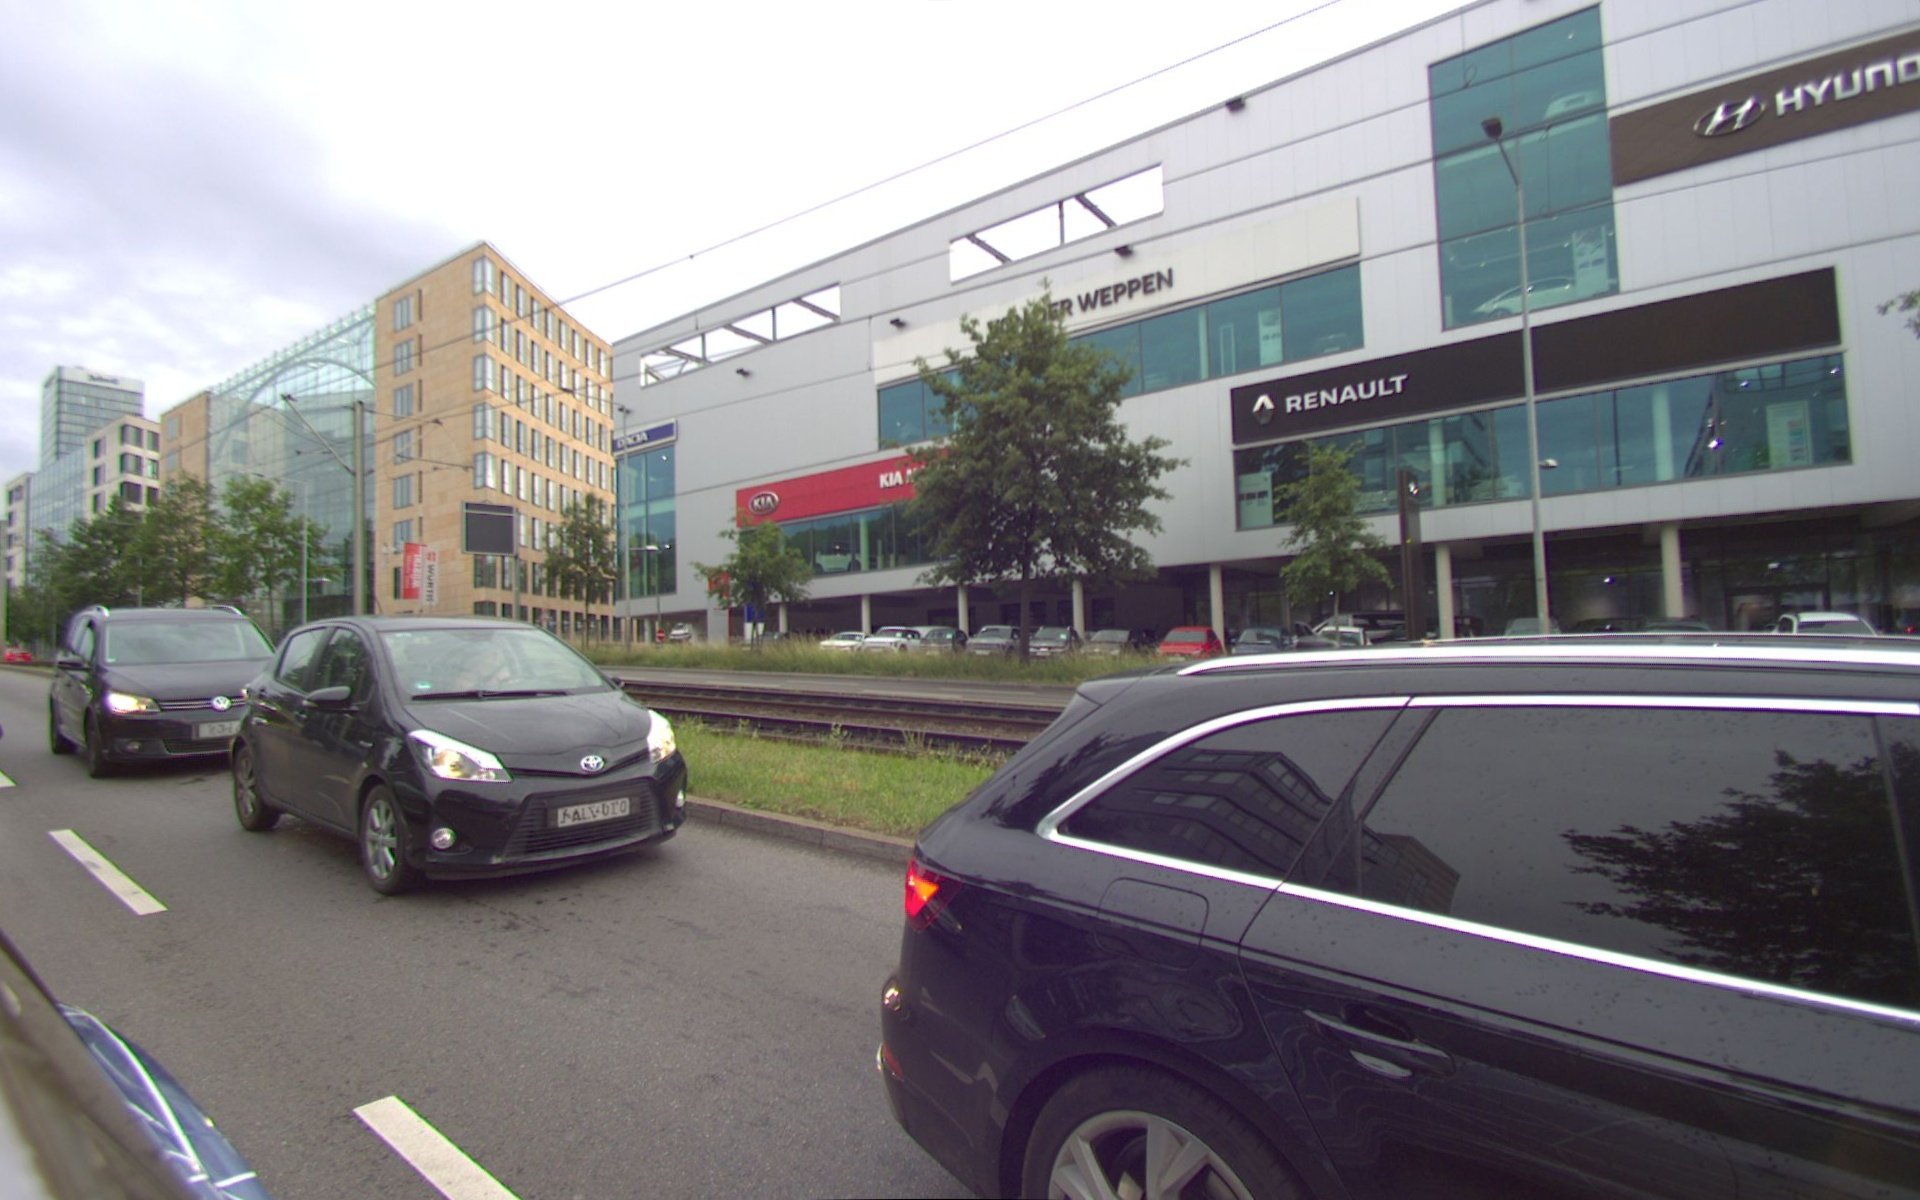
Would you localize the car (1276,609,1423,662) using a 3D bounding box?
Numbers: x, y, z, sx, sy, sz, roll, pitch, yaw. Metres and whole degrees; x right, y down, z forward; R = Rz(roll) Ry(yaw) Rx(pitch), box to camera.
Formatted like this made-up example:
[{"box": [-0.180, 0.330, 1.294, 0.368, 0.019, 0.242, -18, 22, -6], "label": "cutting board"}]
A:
[{"box": [13.963, 1.259, 36.498, 4.488, 1.796, 1.997, -1, -1, 5], "label": "car"}]

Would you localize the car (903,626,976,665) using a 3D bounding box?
[{"box": [-0.781, 1.819, 41.031, 1.688, 1.362, 3.499, -2, 1, 23], "label": "car"}]

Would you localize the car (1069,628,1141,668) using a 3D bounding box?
[{"box": [5.252, 1.691, 36.323, 1.688, 1.190, 3.498, -2, 1, 24], "label": "car"}]

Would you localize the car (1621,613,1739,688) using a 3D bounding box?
[{"box": [18.064, 1.202, 25.585, 1.992, 1.562, 4.331, -1, 1, 30], "label": "car"}]

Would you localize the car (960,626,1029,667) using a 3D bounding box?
[{"box": [1.405, 1.798, 39.704, 1.686, 1.362, 3.503, -2, 1, 20], "label": "car"}]

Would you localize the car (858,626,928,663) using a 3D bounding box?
[{"box": [-2.789, 1.875, 42.962, 1.685, 1.304, 3.643, -2, 1, 18], "label": "car"}]

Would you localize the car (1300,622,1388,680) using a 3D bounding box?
[{"box": [11.957, 1.522, 31.346, 1.914, 1.470, 4.005, -1, 1, 30], "label": "car"}]

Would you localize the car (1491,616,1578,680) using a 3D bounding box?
[{"box": [15.864, 1.278, 27.971, 1.925, 1.470, 3.981, -1, 1, 30], "label": "car"}]

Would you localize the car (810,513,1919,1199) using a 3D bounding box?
[{"box": [1.934, 0.641, 1.478, 4.511, 1.478, 1.762, -2, -2, 41], "label": "car"}]

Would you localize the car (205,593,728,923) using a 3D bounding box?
[{"box": [-3.384, 0.782, 6.639, 3.823, 1.544, 1.683, -1, -1, 40], "label": "car"}]

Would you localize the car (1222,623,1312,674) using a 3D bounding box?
[{"box": [10.082, 1.546, 33.042, 1.914, 1.362, 4.005, -1, 1, 30], "label": "car"}]

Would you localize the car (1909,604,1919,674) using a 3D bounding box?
[{"box": [22.841, 0.955, 22.189, 1.992, 1.627, 4.331, -1, 1, 30], "label": "car"}]

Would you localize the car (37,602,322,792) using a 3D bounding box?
[{"box": [-8.517, 0.883, 10.889, 4.317, 1.619, 1.762, -2, 0, 43], "label": "car"}]

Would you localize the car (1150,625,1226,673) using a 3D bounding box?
[{"box": [7.819, 1.621, 34.446, 1.789, 1.362, 3.903, -2, 1, 24], "label": "car"}]

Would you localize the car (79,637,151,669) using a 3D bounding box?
[{"box": [-48.107, 3.011, 57.602, 4.831, 1.733, 1.976, -1, -4, 36], "label": "car"}]

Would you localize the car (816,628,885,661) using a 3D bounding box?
[{"box": [-4.779, 1.945, 44.638, 1.685, 1.196, 3.643, -2, 1, 18], "label": "car"}]

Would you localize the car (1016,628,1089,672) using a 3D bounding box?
[{"box": [3.504, 1.843, 37.783, 1.688, 1.362, 3.498, -2, 1, 24], "label": "car"}]

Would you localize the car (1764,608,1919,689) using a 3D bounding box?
[{"box": [20.602, 1.055, 23.810, 1.992, 1.562, 4.331, -1, 1, 30], "label": "car"}]

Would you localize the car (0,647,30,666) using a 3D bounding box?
[{"box": [-79.546, 4.701, 84.801, 4.095, 1.524, 1.569, -1, -4, 37], "label": "car"}]
